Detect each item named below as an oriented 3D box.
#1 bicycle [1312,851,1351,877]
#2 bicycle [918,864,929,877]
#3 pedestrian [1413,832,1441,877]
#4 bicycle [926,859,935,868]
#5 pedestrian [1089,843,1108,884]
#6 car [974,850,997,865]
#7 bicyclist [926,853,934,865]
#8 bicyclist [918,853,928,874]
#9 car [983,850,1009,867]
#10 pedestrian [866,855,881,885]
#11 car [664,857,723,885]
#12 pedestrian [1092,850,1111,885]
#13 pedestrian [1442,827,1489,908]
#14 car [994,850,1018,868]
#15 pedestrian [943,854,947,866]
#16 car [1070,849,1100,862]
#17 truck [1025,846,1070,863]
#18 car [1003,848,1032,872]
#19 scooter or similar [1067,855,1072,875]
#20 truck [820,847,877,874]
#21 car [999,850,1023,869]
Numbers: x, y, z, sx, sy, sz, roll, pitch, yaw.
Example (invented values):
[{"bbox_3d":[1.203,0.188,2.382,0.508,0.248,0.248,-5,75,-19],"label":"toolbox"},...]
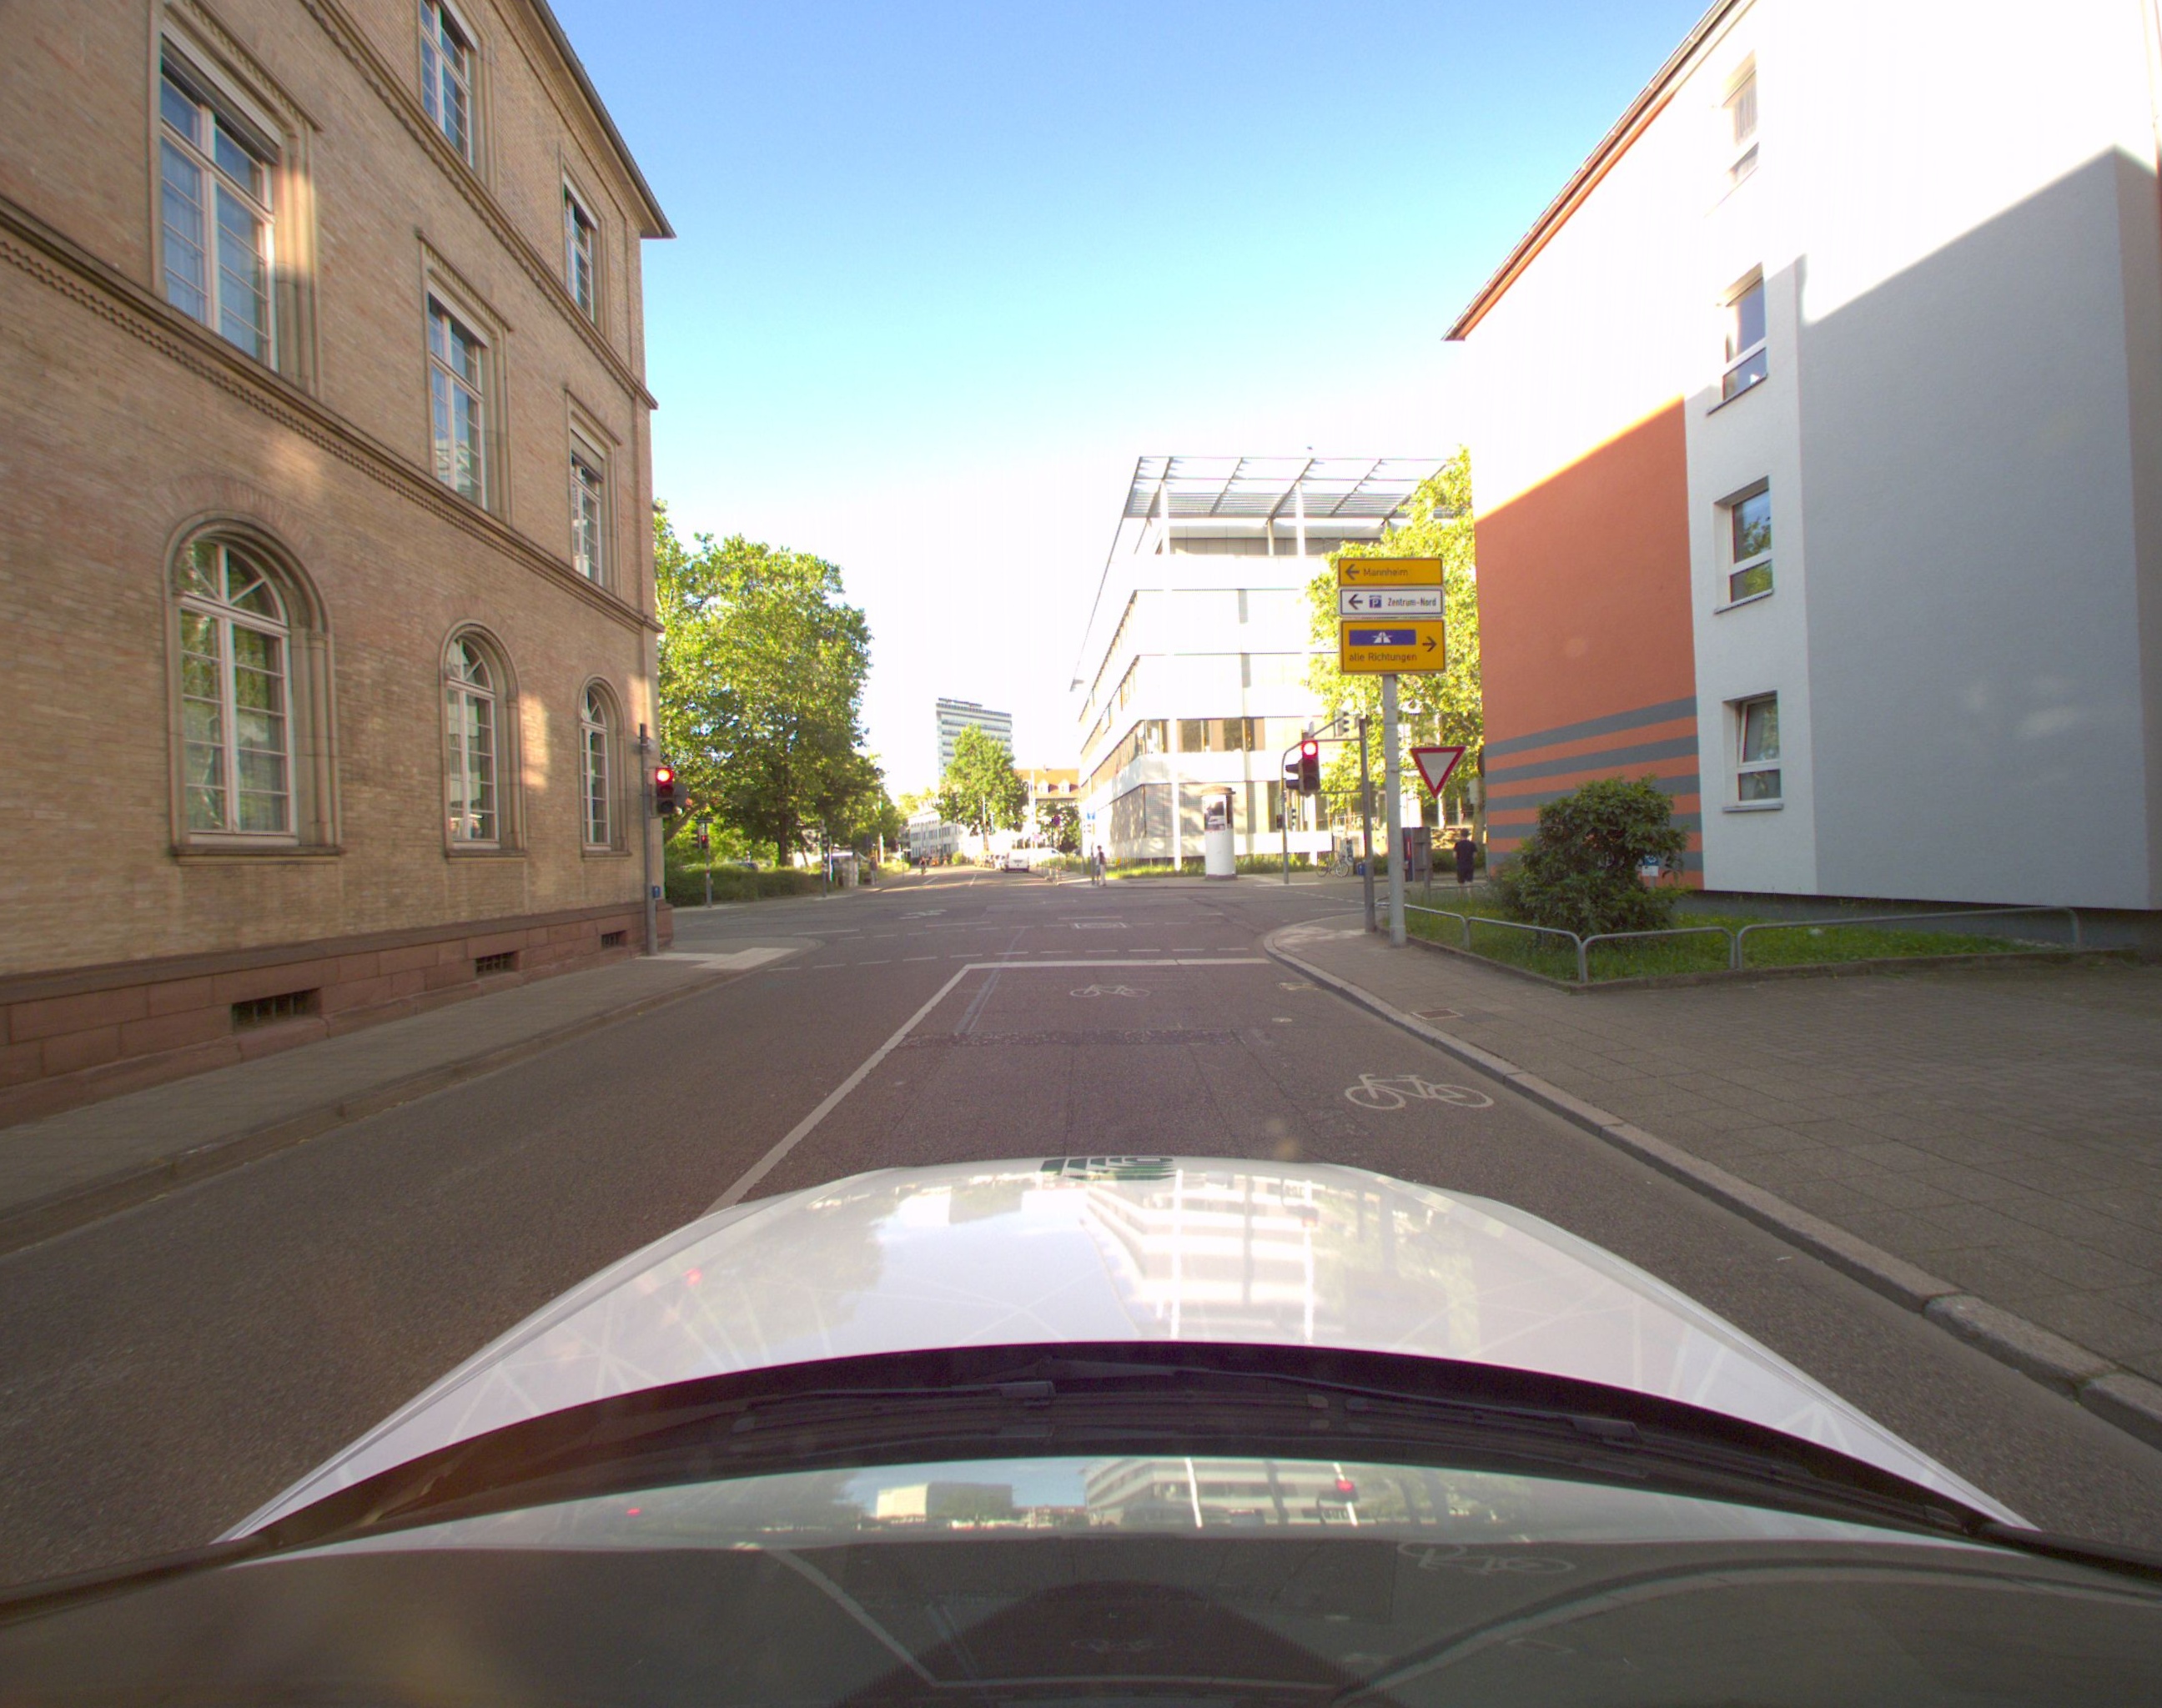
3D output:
[{"bbox_3d":[11.027,0.426,35.921,0.510,1.049,1.670,-4,3,-33],"label":"bicycle"},{"bbox_3d":[-12.308,1.283,63.665,0.615,0.969,1.837,-3,0,-7],"label":"bicycle"},{"bbox_3d":[14.488,0.025,34.149,0.834,1.840,0.707,0,0,-8],"label":"pedestrian"},{"bbox_3d":[-19.129,1.204,103.519,0.865,1.009,2.407,-5,0,-8],"label":"bicycle"},{"bbox_3d":[0.830,0.452,37.940,0.555,1.850,0.680,-5,1,18],"label":"pedestrian"},{"bbox_3d":[-11.279,0.437,95.971,1.893,1.655,4.390,-2,1,-16],"label":"car"},{"bbox_3d":[-19.165,0.656,103.537,0.865,1.515,1.016,-5,0,-9],"label":"bicyclist"},{"bbox_3d":[-12.331,0.740,63.679,0.615,1.532,0.901,-3,0,-7],"label":"bicyclist"},{"bbox_3d":[-9.030,0.444,85.973,1.893,1.655,4.390,-2,1,-16],"label":"car"},{"bbox_3d":[-12.509,0.950,49.049,0.703,1.723,0.952,-3,0,-9],"label":"pedestrian"},{"bbox_3d":[-37.172,1.623,78.125,4.551,2.391,2.069,-3,0,-7],"label":"car"},{"bbox_3d":[0.922,0.610,37.330,0.561,1.540,0.673,-5,1,-16],"label":"pedestrian"},{"bbox_3d":[8.939,0.308,18.953,0.704,1.840,0.837,0,0,1],"label":"pedestrian"},{"bbox_3d":[-7.271,0.487,78.676,1.889,1.555,4.398,-2,1,-11],"label":"car"},{"bbox_3d":[-17.963,0.813,107.575,0.435,1.607,0.489,-2,0,-24],"label":"pedestrian"},{"bbox_3d":[0.503,0.188,104.439,3.563,1.546,1.549,-2,0,-17],"label":"car"},{"bbox_3d":[-4.249,0.084,103.368,5.351,2.013,1.988,-2,0,-17],"label":"truck"},{"bbox_3d":[-5.097,0.457,64.972,2.084,1.795,4.403,-2,1,-8],"label":"car"},{"bbox_3d":[-0.830,0.765,58.755,0.329,1.424,1.333,0,-1,-4],"label":"scooter or similar"},{"bbox_3d":[-21.613,0.593,75.836,4.825,2.399,2.082,-2,0,-8],"label":"truck"},{"bbox_3d":[-6.337,0.511,73.278,1.887,1.555,4.403,-2,1,-8],"label":"car"}]
